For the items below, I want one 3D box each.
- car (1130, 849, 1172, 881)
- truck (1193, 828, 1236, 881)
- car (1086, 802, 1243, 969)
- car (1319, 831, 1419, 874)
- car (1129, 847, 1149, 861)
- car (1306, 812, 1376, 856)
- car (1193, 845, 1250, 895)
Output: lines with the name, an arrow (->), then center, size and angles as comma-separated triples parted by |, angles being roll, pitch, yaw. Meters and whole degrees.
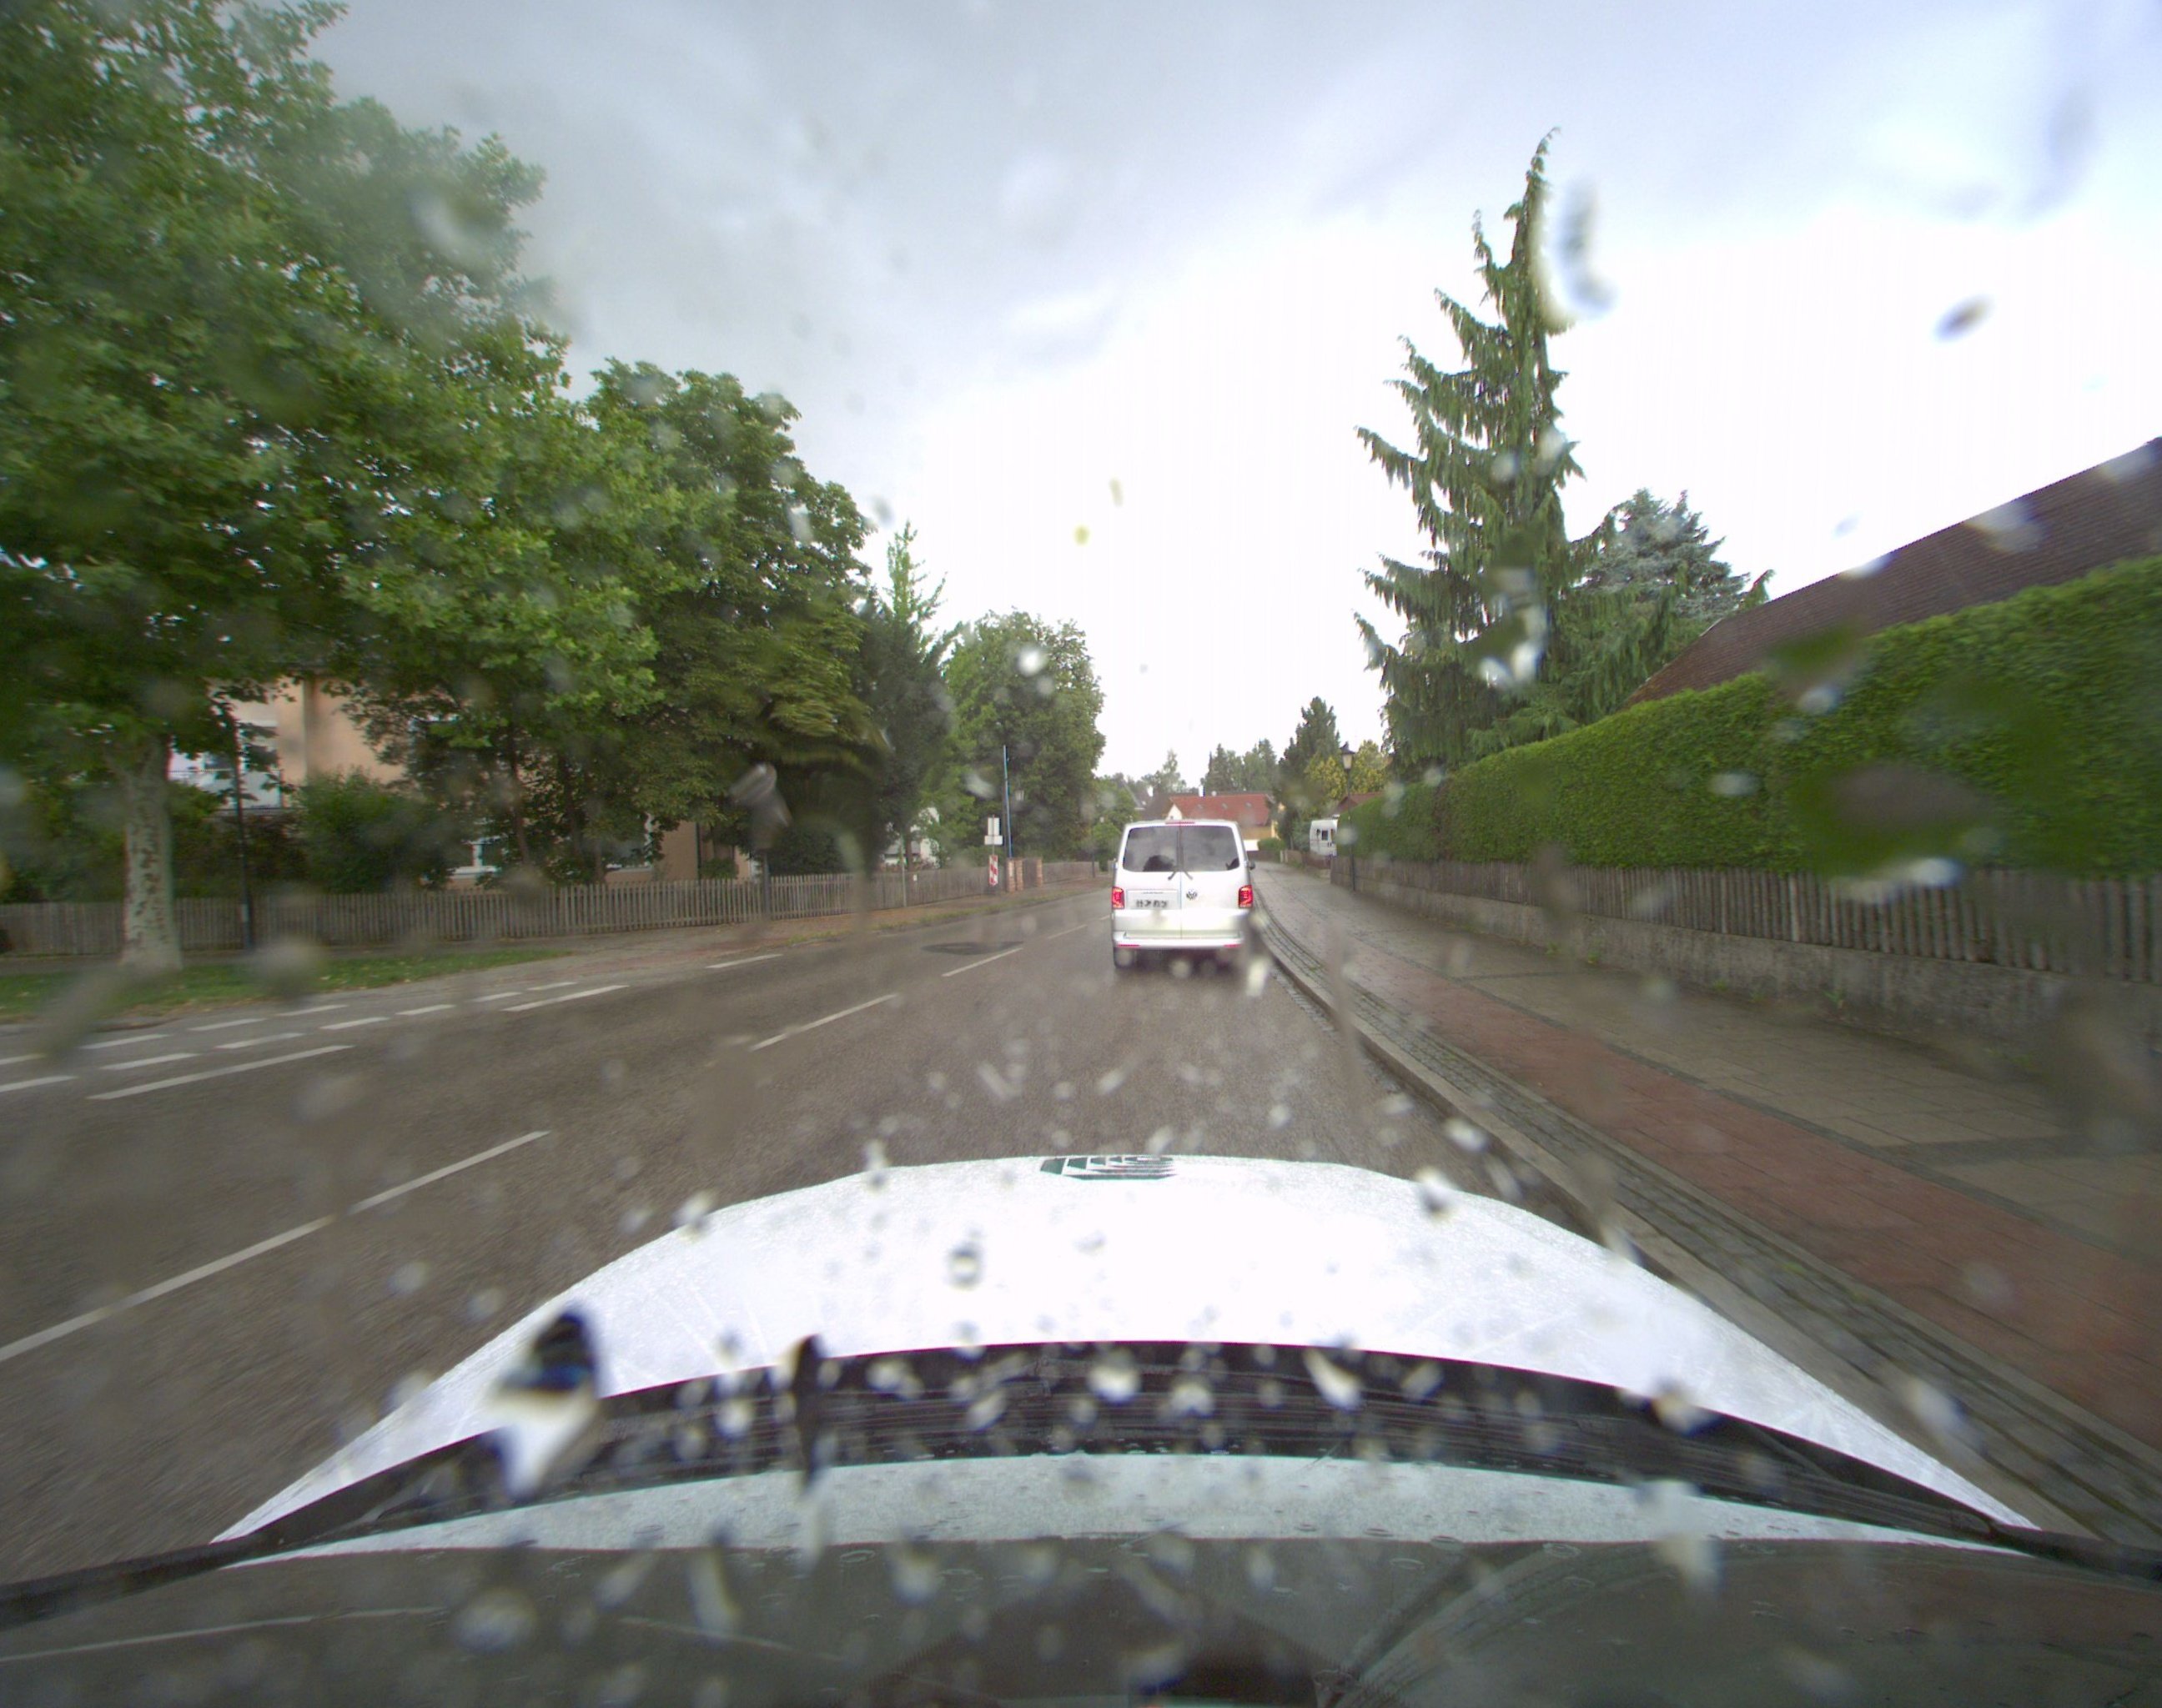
car -> 3.946, 0.630, 45.416 | 1.772, 1.663, 4.461 | -1, -1, 12
truck -> 8.290, 0.072, 50.284 | 2.460, 3.074, 6.313 | -1, -1, 10
car -> 1.393, 0.409, 11.949 | 1.788, 2.014, 4.014 | -1, -1, 13
car -> 13.344, -0.080, 37.913 | 4.071, 1.751, 1.698 | -3, 2, 7
car -> 8.660, 0.038, 121.216 | 1.994, 2.014, 3.985 | 0, -1, -11
car -> 13.792, -0.986, 43.570 | 1.989, 2.173, 4.947 | 0, -1, -3
car -> 4.871, 0.545, 28.174 | 1.789, 1.588, 4.011 | -1, -1, 10
